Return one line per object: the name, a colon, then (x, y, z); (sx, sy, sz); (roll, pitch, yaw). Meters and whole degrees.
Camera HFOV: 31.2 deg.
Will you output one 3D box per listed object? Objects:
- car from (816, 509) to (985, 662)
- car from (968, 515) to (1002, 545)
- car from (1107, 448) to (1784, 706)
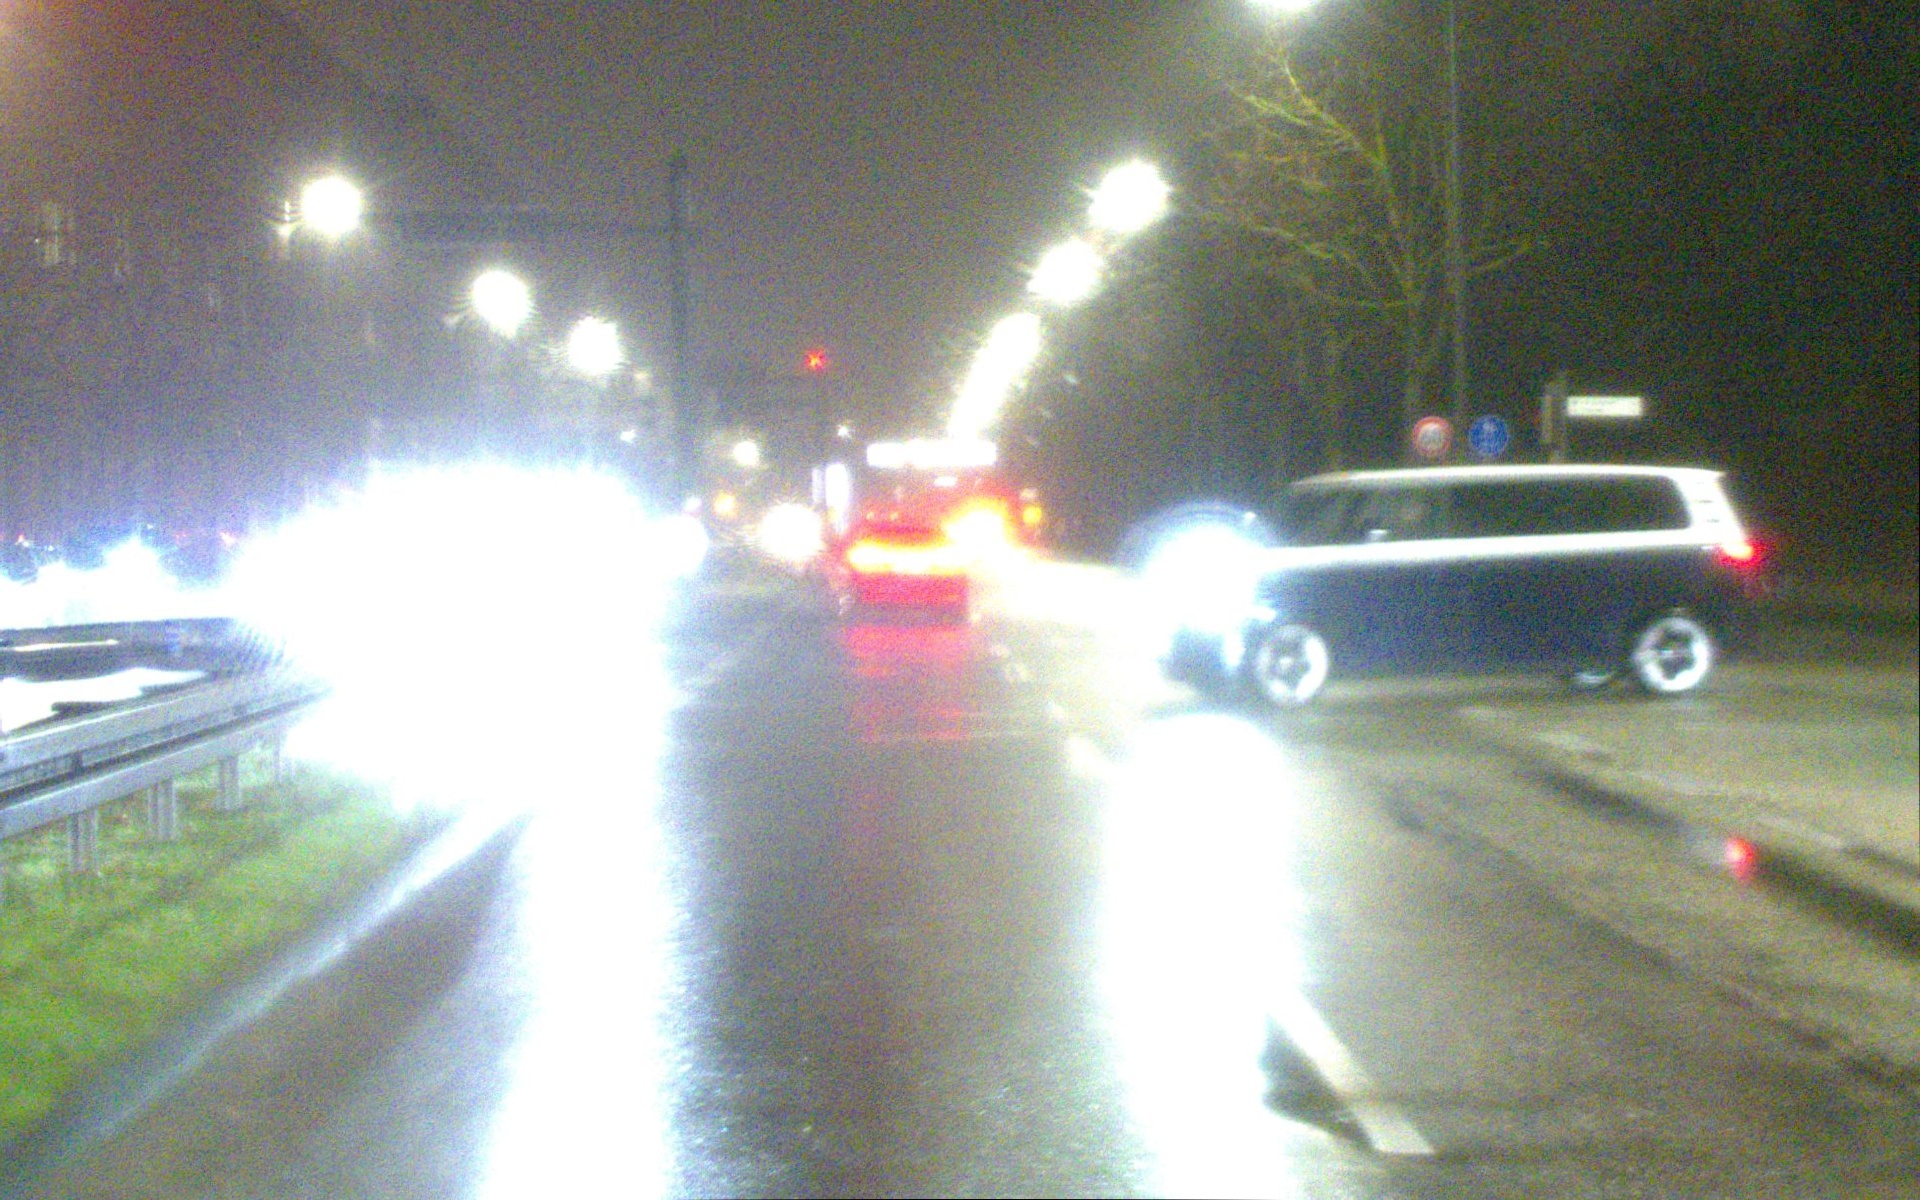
car: (-0.948, -0.225, 51.139); (2.134, 2.137, 4.929); (1, 1, -5)
car: (1.530, -4.294, 210.701); (1.993, 1.753, 4.000); (1, 1, -1)
car: (3.926, -0.216, 28.105); (5.091, 1.978, 2.001); (-1, 1, -11)
